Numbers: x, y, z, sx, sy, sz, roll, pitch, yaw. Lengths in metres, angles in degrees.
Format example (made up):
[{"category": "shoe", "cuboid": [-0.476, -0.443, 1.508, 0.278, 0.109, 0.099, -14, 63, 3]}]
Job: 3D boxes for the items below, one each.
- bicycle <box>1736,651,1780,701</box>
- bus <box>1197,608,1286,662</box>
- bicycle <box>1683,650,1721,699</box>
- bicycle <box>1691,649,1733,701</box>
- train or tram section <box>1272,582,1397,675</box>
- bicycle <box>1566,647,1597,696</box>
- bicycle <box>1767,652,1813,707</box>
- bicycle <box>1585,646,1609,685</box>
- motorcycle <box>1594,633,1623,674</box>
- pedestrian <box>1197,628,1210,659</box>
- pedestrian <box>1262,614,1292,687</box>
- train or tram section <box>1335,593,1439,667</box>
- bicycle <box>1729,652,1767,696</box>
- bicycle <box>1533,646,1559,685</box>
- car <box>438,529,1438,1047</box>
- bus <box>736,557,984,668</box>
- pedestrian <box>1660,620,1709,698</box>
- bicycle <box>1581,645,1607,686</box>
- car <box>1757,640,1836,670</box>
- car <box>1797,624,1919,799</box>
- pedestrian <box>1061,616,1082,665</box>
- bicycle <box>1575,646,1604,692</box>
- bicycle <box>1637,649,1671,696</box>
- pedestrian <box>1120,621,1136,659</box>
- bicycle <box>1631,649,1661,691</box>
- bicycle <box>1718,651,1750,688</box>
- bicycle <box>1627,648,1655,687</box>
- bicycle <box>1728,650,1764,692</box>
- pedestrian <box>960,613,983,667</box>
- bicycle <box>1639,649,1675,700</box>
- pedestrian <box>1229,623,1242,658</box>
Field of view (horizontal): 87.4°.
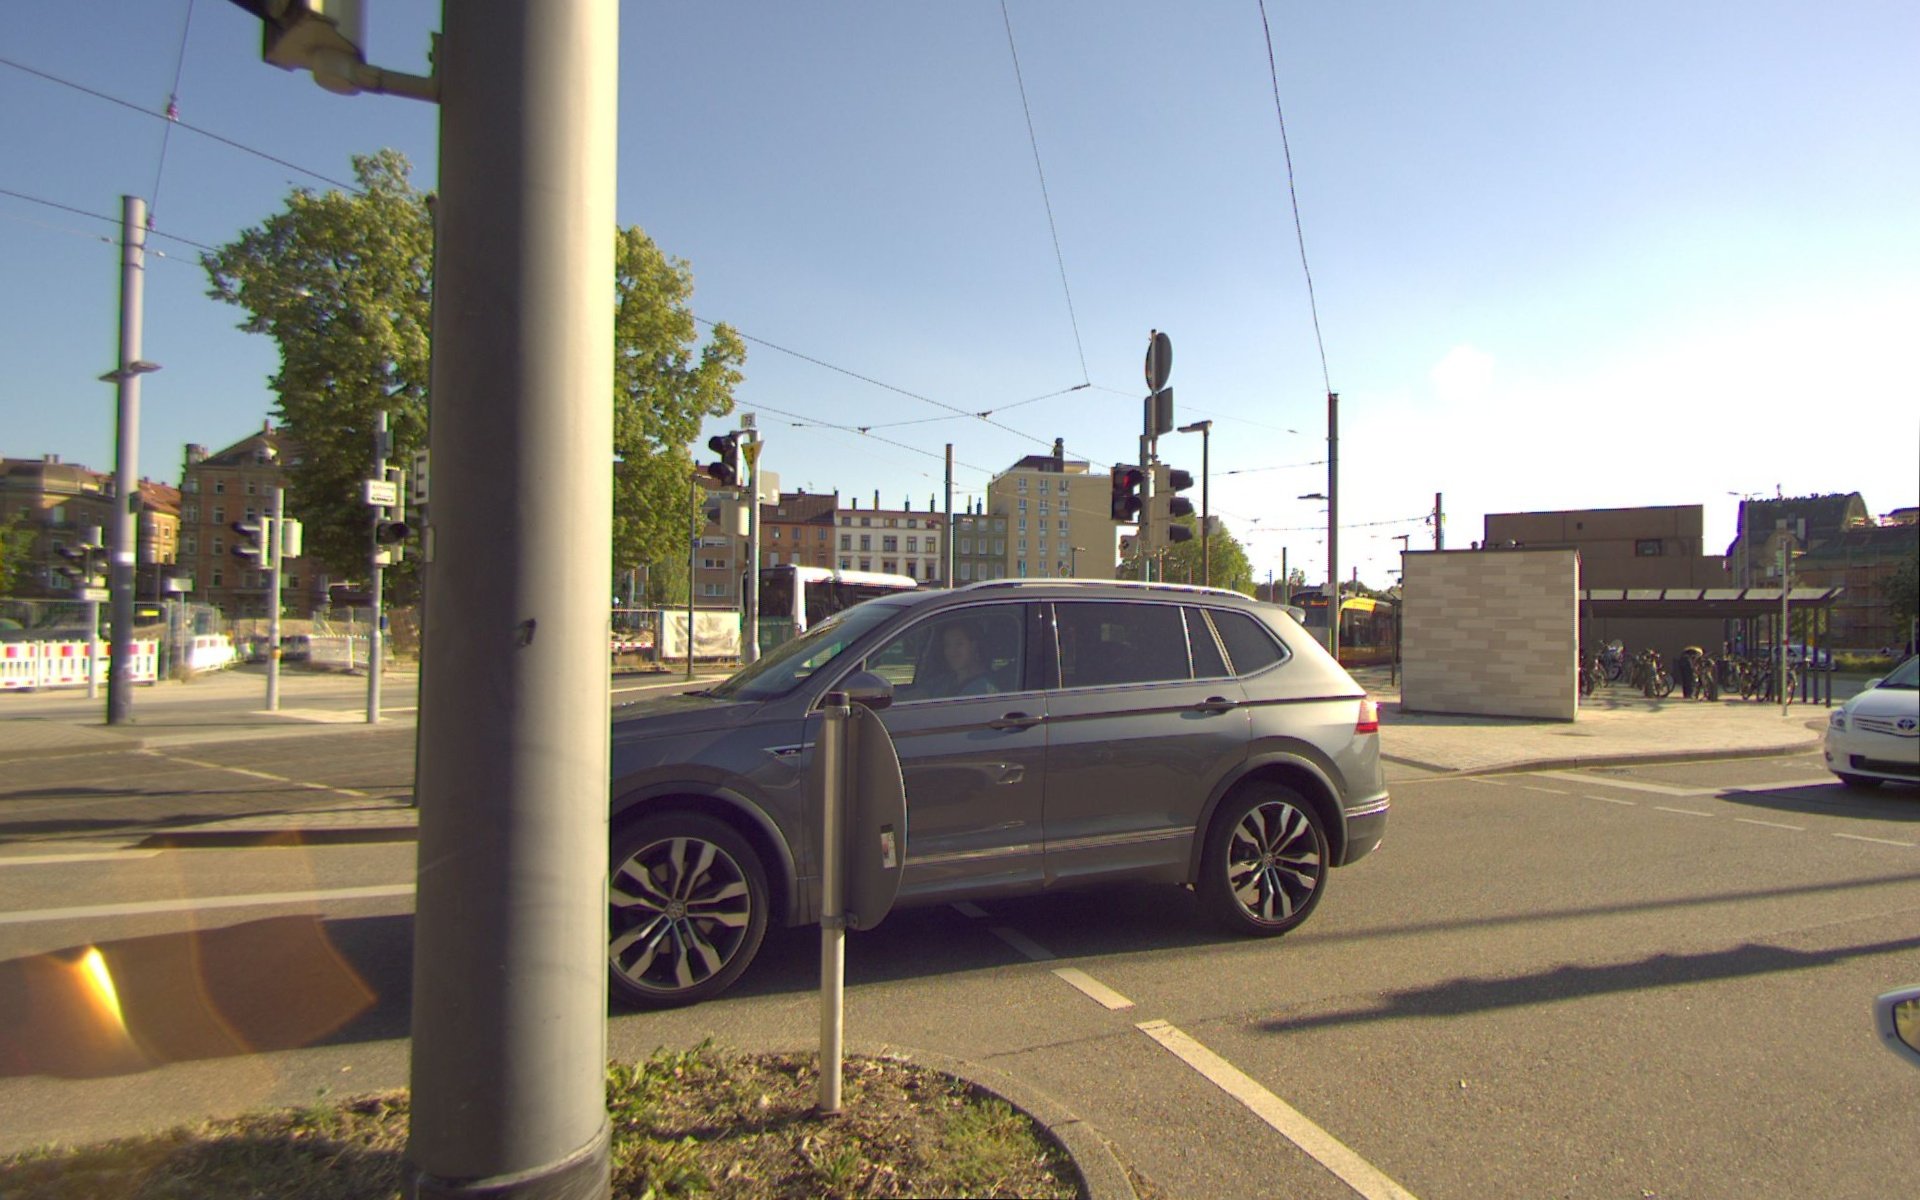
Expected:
[{"category": "bicycle", "cuboid": [19.741, 1.866, 24.866, 0.598, 1.129, 1.892, 2, -1, 32]}, {"category": "bus", "cuboid": [19.897, 2.403, 70.243, 2.681, 3.317, 13.442, 2, -1, 30]}, {"category": "bicycle", "cuboid": [18.714, 1.863, 25.351, 0.598, 1.129, 1.892, 2, -1, 32]}, {"category": "bicycle", "cuboid": [17.695, 1.744, 23.657, 0.598, 1.129, 1.892, 2, -1, 32]}, {"category": "train or tram section", "cuboid": [17.337, 1.287, 45.763, 2.840, 3.644, 12.171, 2, -1, 32]}, {"category": "bicycle", "cuboid": [15.533, 1.757, 25.117, 0.598, 1.129, 1.892, 2, -1, 32]}, {"category": "bicycle", "cuboid": [18.888, 1.783, 22.884, 0.598, 1.129, 1.891, 2, -1, 35]}, {"category": "bicycle", "cuboid": [20.105, 2.056, 31.728, 0.598, 1.129, 1.892, 2, -1, 32]}, {"category": "motorcycle", "cuboid": [23.404, 1.920, 36.276, 0.755, 1.408, 1.893, 2, -1, 31]}, {"category": "pedestrian", "cuboid": [13.847, 2.457, 57.114, 0.561, 1.772, 0.639, 0, -2, 25]}, {"category": "pedestrian", "cuboid": [7.851, 1.231, 24.853, 0.628, 1.772, 0.571, 0, -2, 26]}, {"category": "train or tram section", "cuboid": [23.989, 1.674, 55.961, 2.971, 3.644, 12.165, 2, -1, 34]}, {"category": "bicycle", "cuboid": [21.875, 2.034, 27.912, 0.598, 1.129, 1.892, 2, -1, 32]}, {"category": "bicycle", "cuboid": [17.909, 1.981, 30.690, 0.598, 1.129, 1.892, 2, -1, 32]}, {"category": "car", "cuboid": [0.013, 0.714, 5.042, 4.464, 1.728, 1.759, 1, -3, -22]}, {"category": "bus", "cuboid": [-2.934, 0.475, 33.537, 2.618, 3.177, 9.615, 2, -1, 34]}, {"category": "pedestrian", "cuboid": [18.049, 1.454, 25.045, 0.888, 1.893, 0.685, 2, 0, 32]}, {"category": "bicycle", "cuboid": [18.934, 1.941, 30.005, 0.598, 1.129, 1.892, 2, -1, 32]}, {"category": "car", "cuboid": [46.399, 3.043, 55.806, 1.611, 1.581, 3.602, 0, -2, 5]}, {"category": "car", "cuboid": [10.452, 1.057, 9.953, 3.922, 1.581, 1.691, 1, -2, -22]}, {"category": "pedestrian", "cuboid": [4.076, 1.465, 36.602, 0.561, 1.772, 0.639, 0, -2, 28]}, {"category": "bicycle", "cuboid": [16.782, 1.829, 26.789, 0.598, 1.129, 1.892, 2, -1, 32]}, {"category": "bicycle", "cuboid": [17.995, 1.854, 26.080, 0.598, 1.129, 1.892, 2, -1, 32]}, {"category": "pedestrian", "cuboid": [7.738, 1.839, 46.276, 0.627, 1.772, 0.572, 0, -2, 18]}, {"category": "bicycle", "cuboid": [19.996, 2.024, 29.290, 0.598, 1.129, 1.892, 2, -1, 32]}, {"category": "bicycle", "cuboid": [25.009, 2.226, 32.474, 0.598, 1.129, 1.892, 2, -1, 32]}, {"category": "bicycle", "cuboid": [21.029, 2.062, 31.027, 0.598, 1.129, 1.892, 2, -1, 32]}, {"category": "bicycle", "cuboid": [23.065, 2.075, 29.493, 0.598, 1.129, 1.892, 2, -1, 32]}, {"category": "pedestrian", "cuboid": [0.385, 1.316, 33.248, 0.531, 1.772, 0.557, -1, -2, 39]}, {"category": "bicycle", "cuboid": [16.847, 1.777, 24.309, 0.598, 1.129, 1.892, 2, -1, 32]}, {"category": "pedestrian", "cuboid": [13.771, 2.023, 50.173, 0.627, 1.772, 0.572, 0, -2, 18]}]
